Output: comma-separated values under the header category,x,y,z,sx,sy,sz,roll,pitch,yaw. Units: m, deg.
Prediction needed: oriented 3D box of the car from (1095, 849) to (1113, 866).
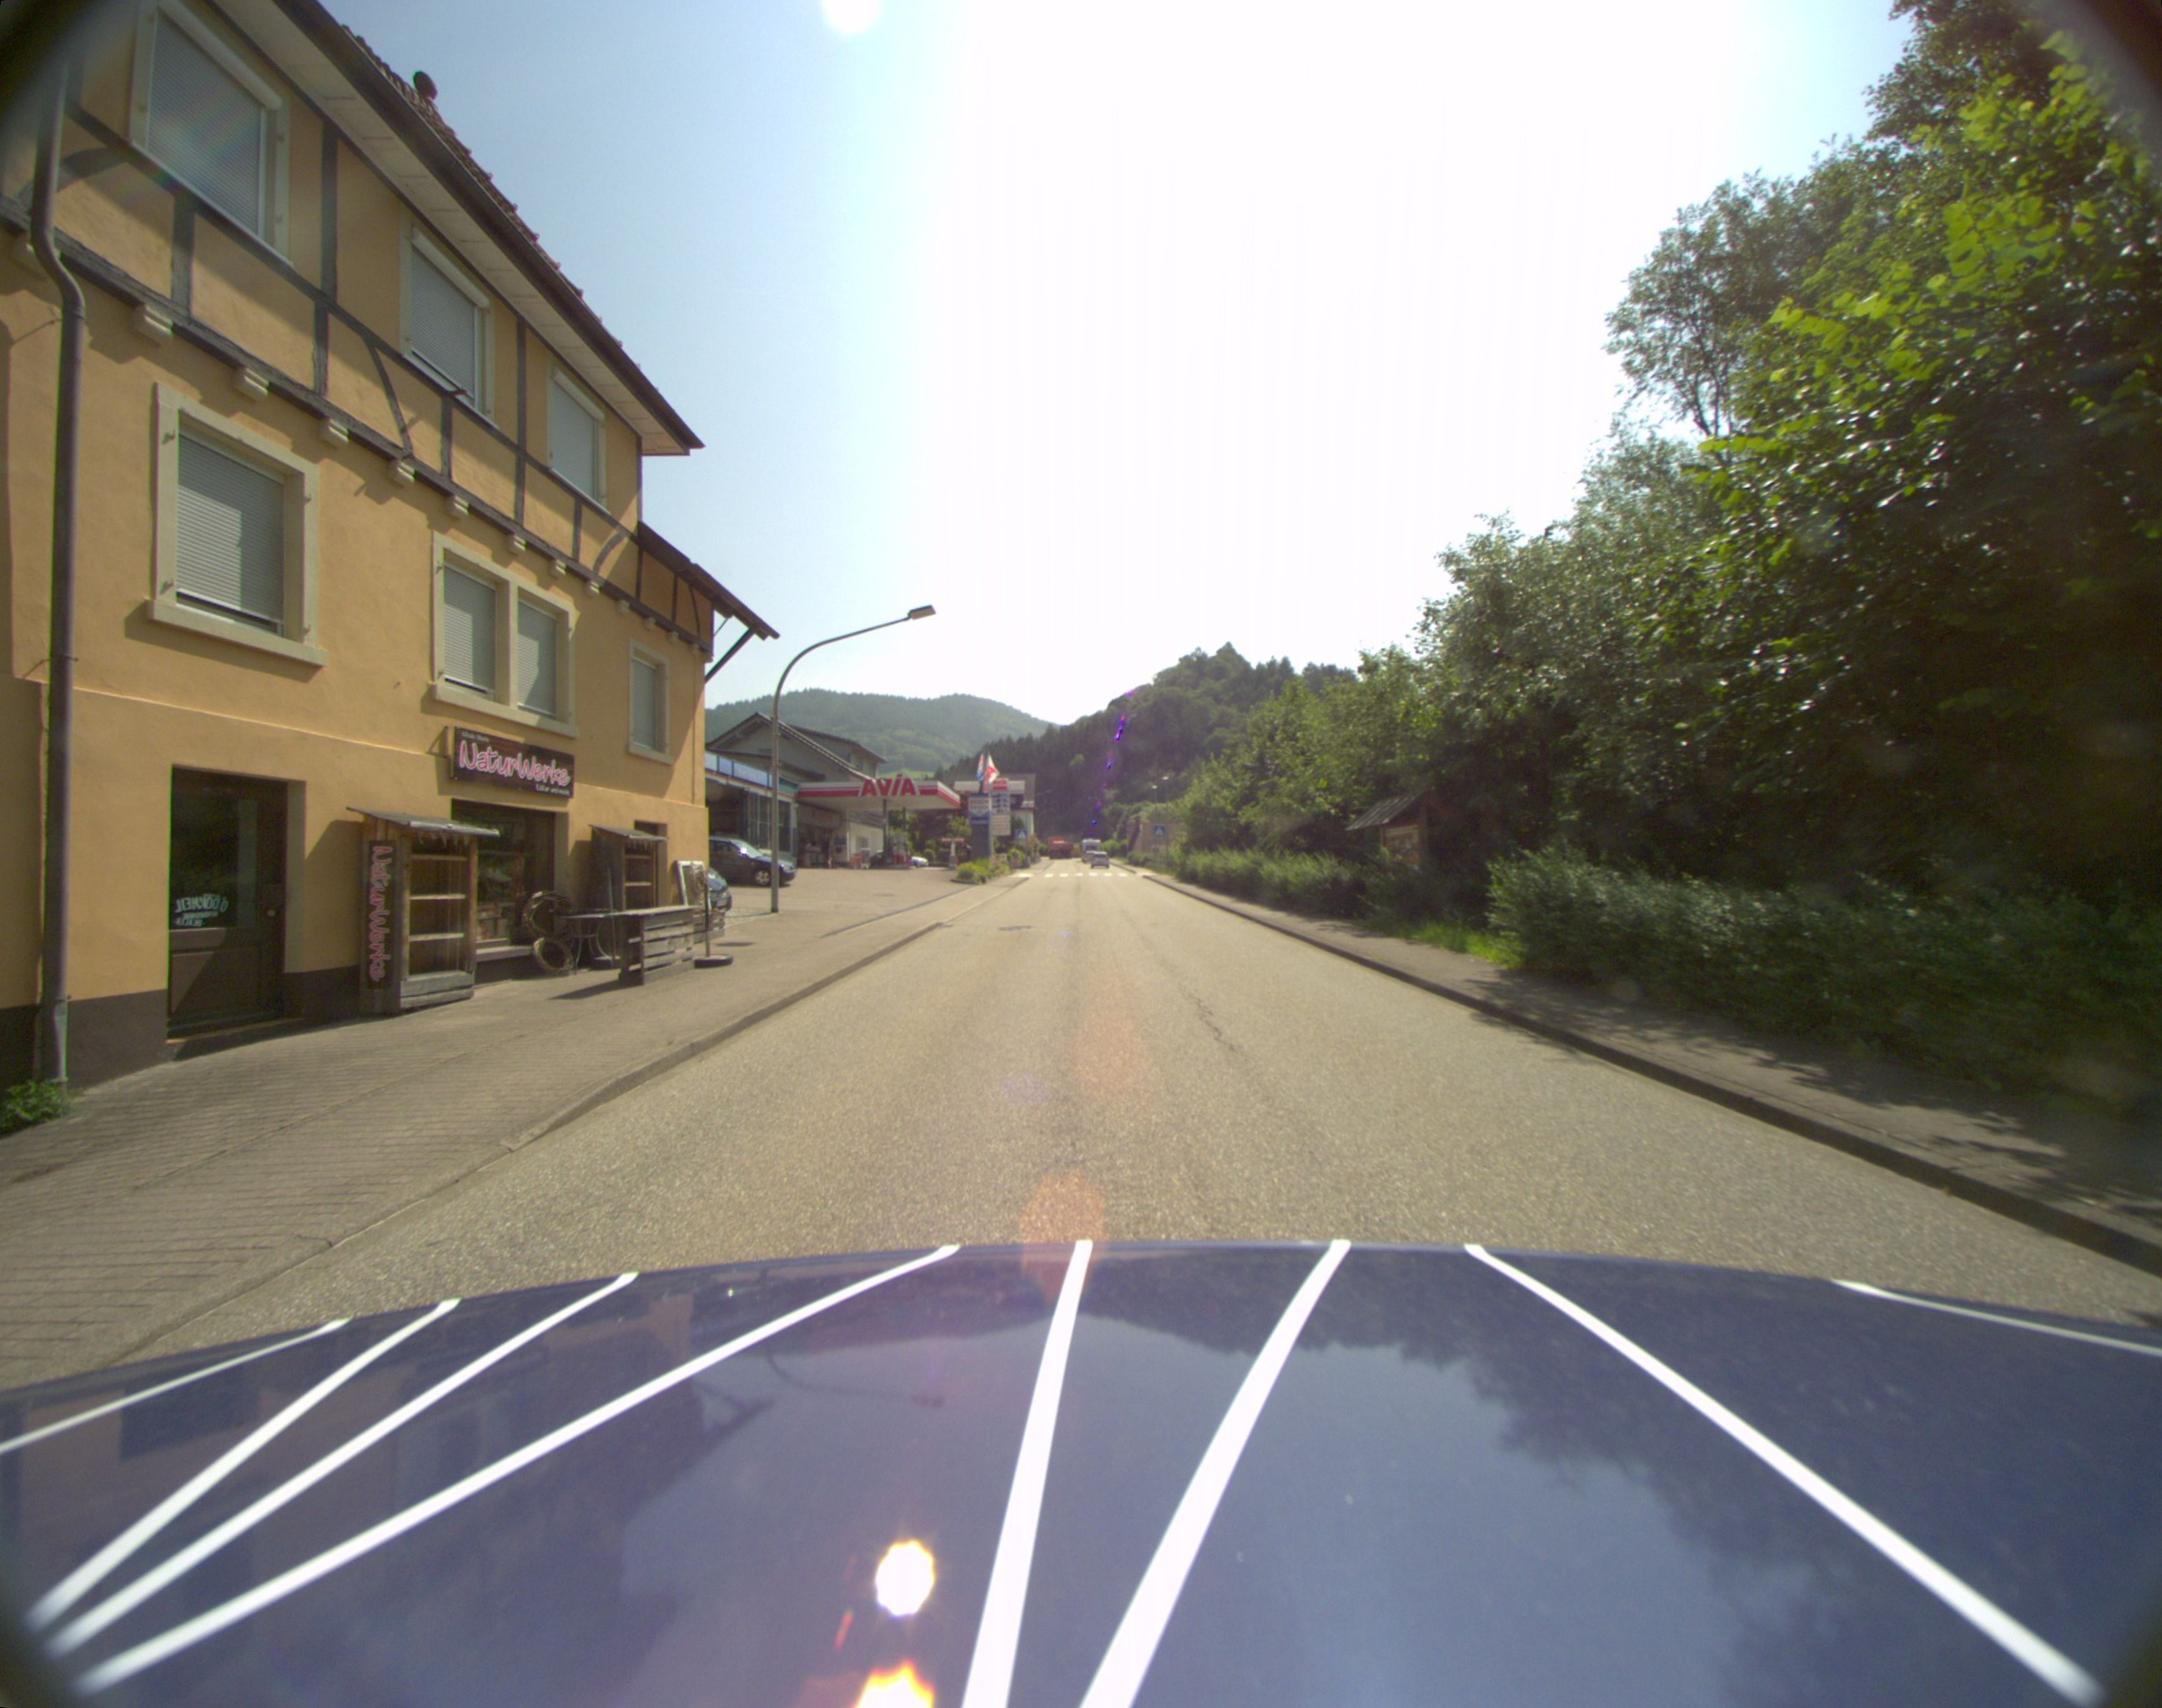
category,x,y,z,sx,sy,sz,roll,pitch,yaw
car,2.128,0.309,70.185,1.594,1.474,3.757,1,0,2

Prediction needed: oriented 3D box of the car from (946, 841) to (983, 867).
category,x,y,z,sx,sy,sz,roll,pitch,yaw
car,-7.491,-0.036,49.212,1.696,1.568,3.910,3,1,1

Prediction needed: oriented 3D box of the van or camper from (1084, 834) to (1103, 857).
category,x,y,z,sx,sy,sz,roll,pitch,yaw
van or camper,1.600,-1.114,101.242,2.364,2.936,8.050,1,0,0

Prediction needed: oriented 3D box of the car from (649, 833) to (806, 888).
category,x,y,z,sx,sy,sz,roll,pitch,yaw
car,-11.588,0.207,25.170,4.332,1.536,1.798,3,1,-9

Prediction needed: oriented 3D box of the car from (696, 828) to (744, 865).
category,x,y,z,sx,sy,sz,roll,pitch,yaw
car,-18.198,-0.425,38.420,1.607,1.678,3.923,3,1,-17

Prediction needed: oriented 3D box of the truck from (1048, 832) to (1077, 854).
category,x,y,z,sx,sy,sz,roll,pitch,yaw
truck,-3.096,-1.837,127.409,2.655,3.561,8.179,1,1,-17

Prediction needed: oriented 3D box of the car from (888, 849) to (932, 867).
category,x,y,z,sx,sy,sz,roll,pitch,yaw
car,-13.164,0.314,58.682,3.081,1.138,1.334,3,1,-1

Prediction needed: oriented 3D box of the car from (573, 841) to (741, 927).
category,x,y,z,sx,sy,sz,roll,pitch,yaw
car,-8.878,0.597,16.061,2.661,1.527,1.424,5,2,-4

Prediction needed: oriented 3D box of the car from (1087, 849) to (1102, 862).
category,x,y,z,sx,sy,sz,roll,pitch,yaw
car,1.615,0.124,89.714,1.609,1.398,3.826,2,1,0
